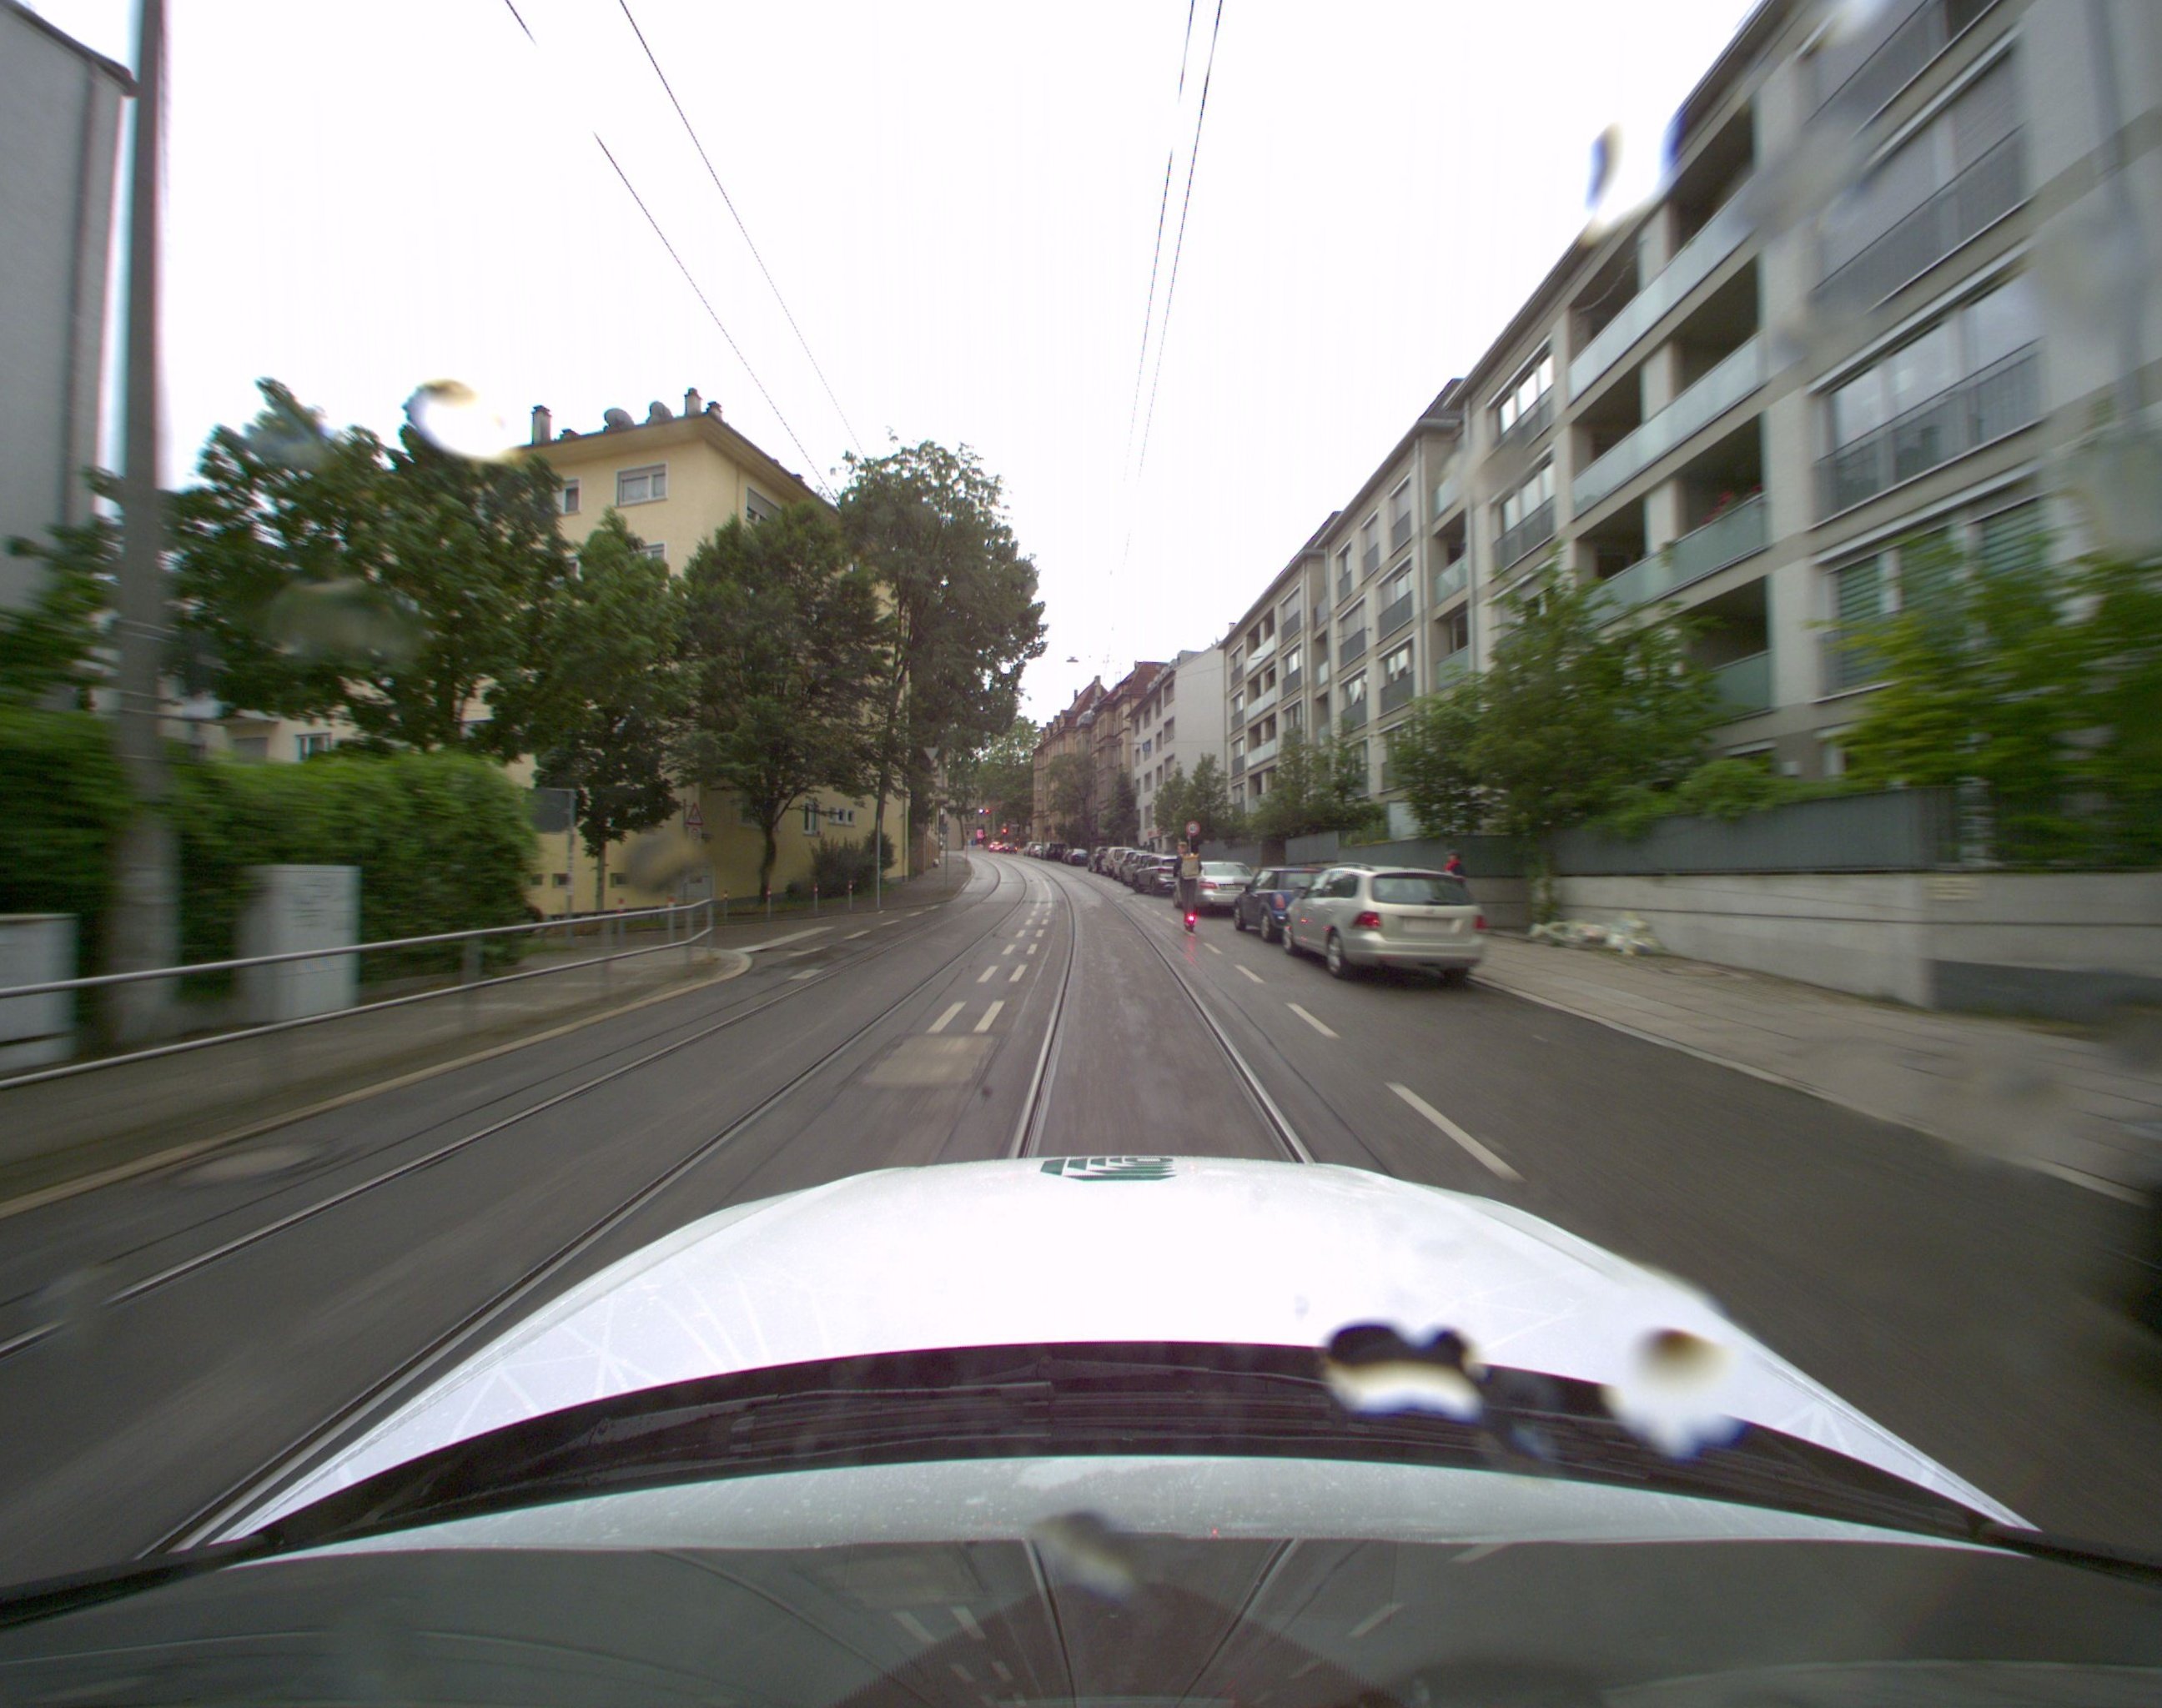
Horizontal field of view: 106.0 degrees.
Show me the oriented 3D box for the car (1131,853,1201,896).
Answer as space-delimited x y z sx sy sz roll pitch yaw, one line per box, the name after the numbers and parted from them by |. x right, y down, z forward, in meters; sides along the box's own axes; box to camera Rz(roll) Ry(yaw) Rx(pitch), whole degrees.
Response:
3.398 0.770 33.314 1.766 1.615 4.234 -1 0 -10 | car

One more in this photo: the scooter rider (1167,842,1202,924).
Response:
2.209 0.609 17.430 0.621 1.705 0.843 0 1 -2 | scooter rider

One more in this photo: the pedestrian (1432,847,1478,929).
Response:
7.313 0.657 15.946 0.567 1.542 0.651 -3 0 3 | pedestrian

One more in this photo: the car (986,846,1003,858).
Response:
-12.634 -0.334 118.786 1.859 1.734 4.120 1 1 -14 | car

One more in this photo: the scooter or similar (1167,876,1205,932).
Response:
2.210 1.034 17.345 0.512 1.049 2.007 0 1 -2 | scooter or similar

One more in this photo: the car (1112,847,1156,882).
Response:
2.856 0.543 44.931 1.764 1.787 4.240 1 1 -5 | car

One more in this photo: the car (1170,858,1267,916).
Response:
3.851 0.871 23.556 1.758 1.435 4.633 -1 0 -4 | car

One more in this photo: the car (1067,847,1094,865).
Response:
-0.063 0.145 69.563 1.765 1.518 4.130 1 1 -7 | car

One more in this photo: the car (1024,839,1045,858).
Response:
-5.748 -0.689 99.785 2.028 2.218 4.125 1 1 -10 | car

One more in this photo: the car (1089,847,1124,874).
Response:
1.685 0.414 55.858 1.765 1.684 4.238 1 1 -7 | car

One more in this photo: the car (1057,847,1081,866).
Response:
-1.108 0.187 74.342 1.649 1.536 3.878 -3 1 -9 | car

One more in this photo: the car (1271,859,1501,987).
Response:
4.102 0.827 11.794 1.656 1.471 4.507 1 0 0 | car

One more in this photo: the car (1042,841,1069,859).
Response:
-2.643 -0.409 83.805 2.029 1.824 4.352 1 1 -11 | car

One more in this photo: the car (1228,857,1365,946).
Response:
4.187 0.858 16.416 1.697 1.512 3.712 1 1 -2 | car

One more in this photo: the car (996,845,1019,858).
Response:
-10.269 -0.318 113.606 2.035 1.734 4.110 1 1 -21 | car

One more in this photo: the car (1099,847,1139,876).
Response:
2.322 0.427 51.086 1.765 1.684 4.237 1 1 -8 | car

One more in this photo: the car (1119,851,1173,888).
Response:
3.067 0.718 39.362 1.765 1.615 4.237 1 1 -7 | car

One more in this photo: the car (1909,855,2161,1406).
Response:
3.774 0.815 0.650 1.694 1.512 4.574 2 1 3 | car

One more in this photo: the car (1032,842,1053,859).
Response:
-4.550 -0.428 94.994 2.027 1.824 4.128 1 1 -8 | car
